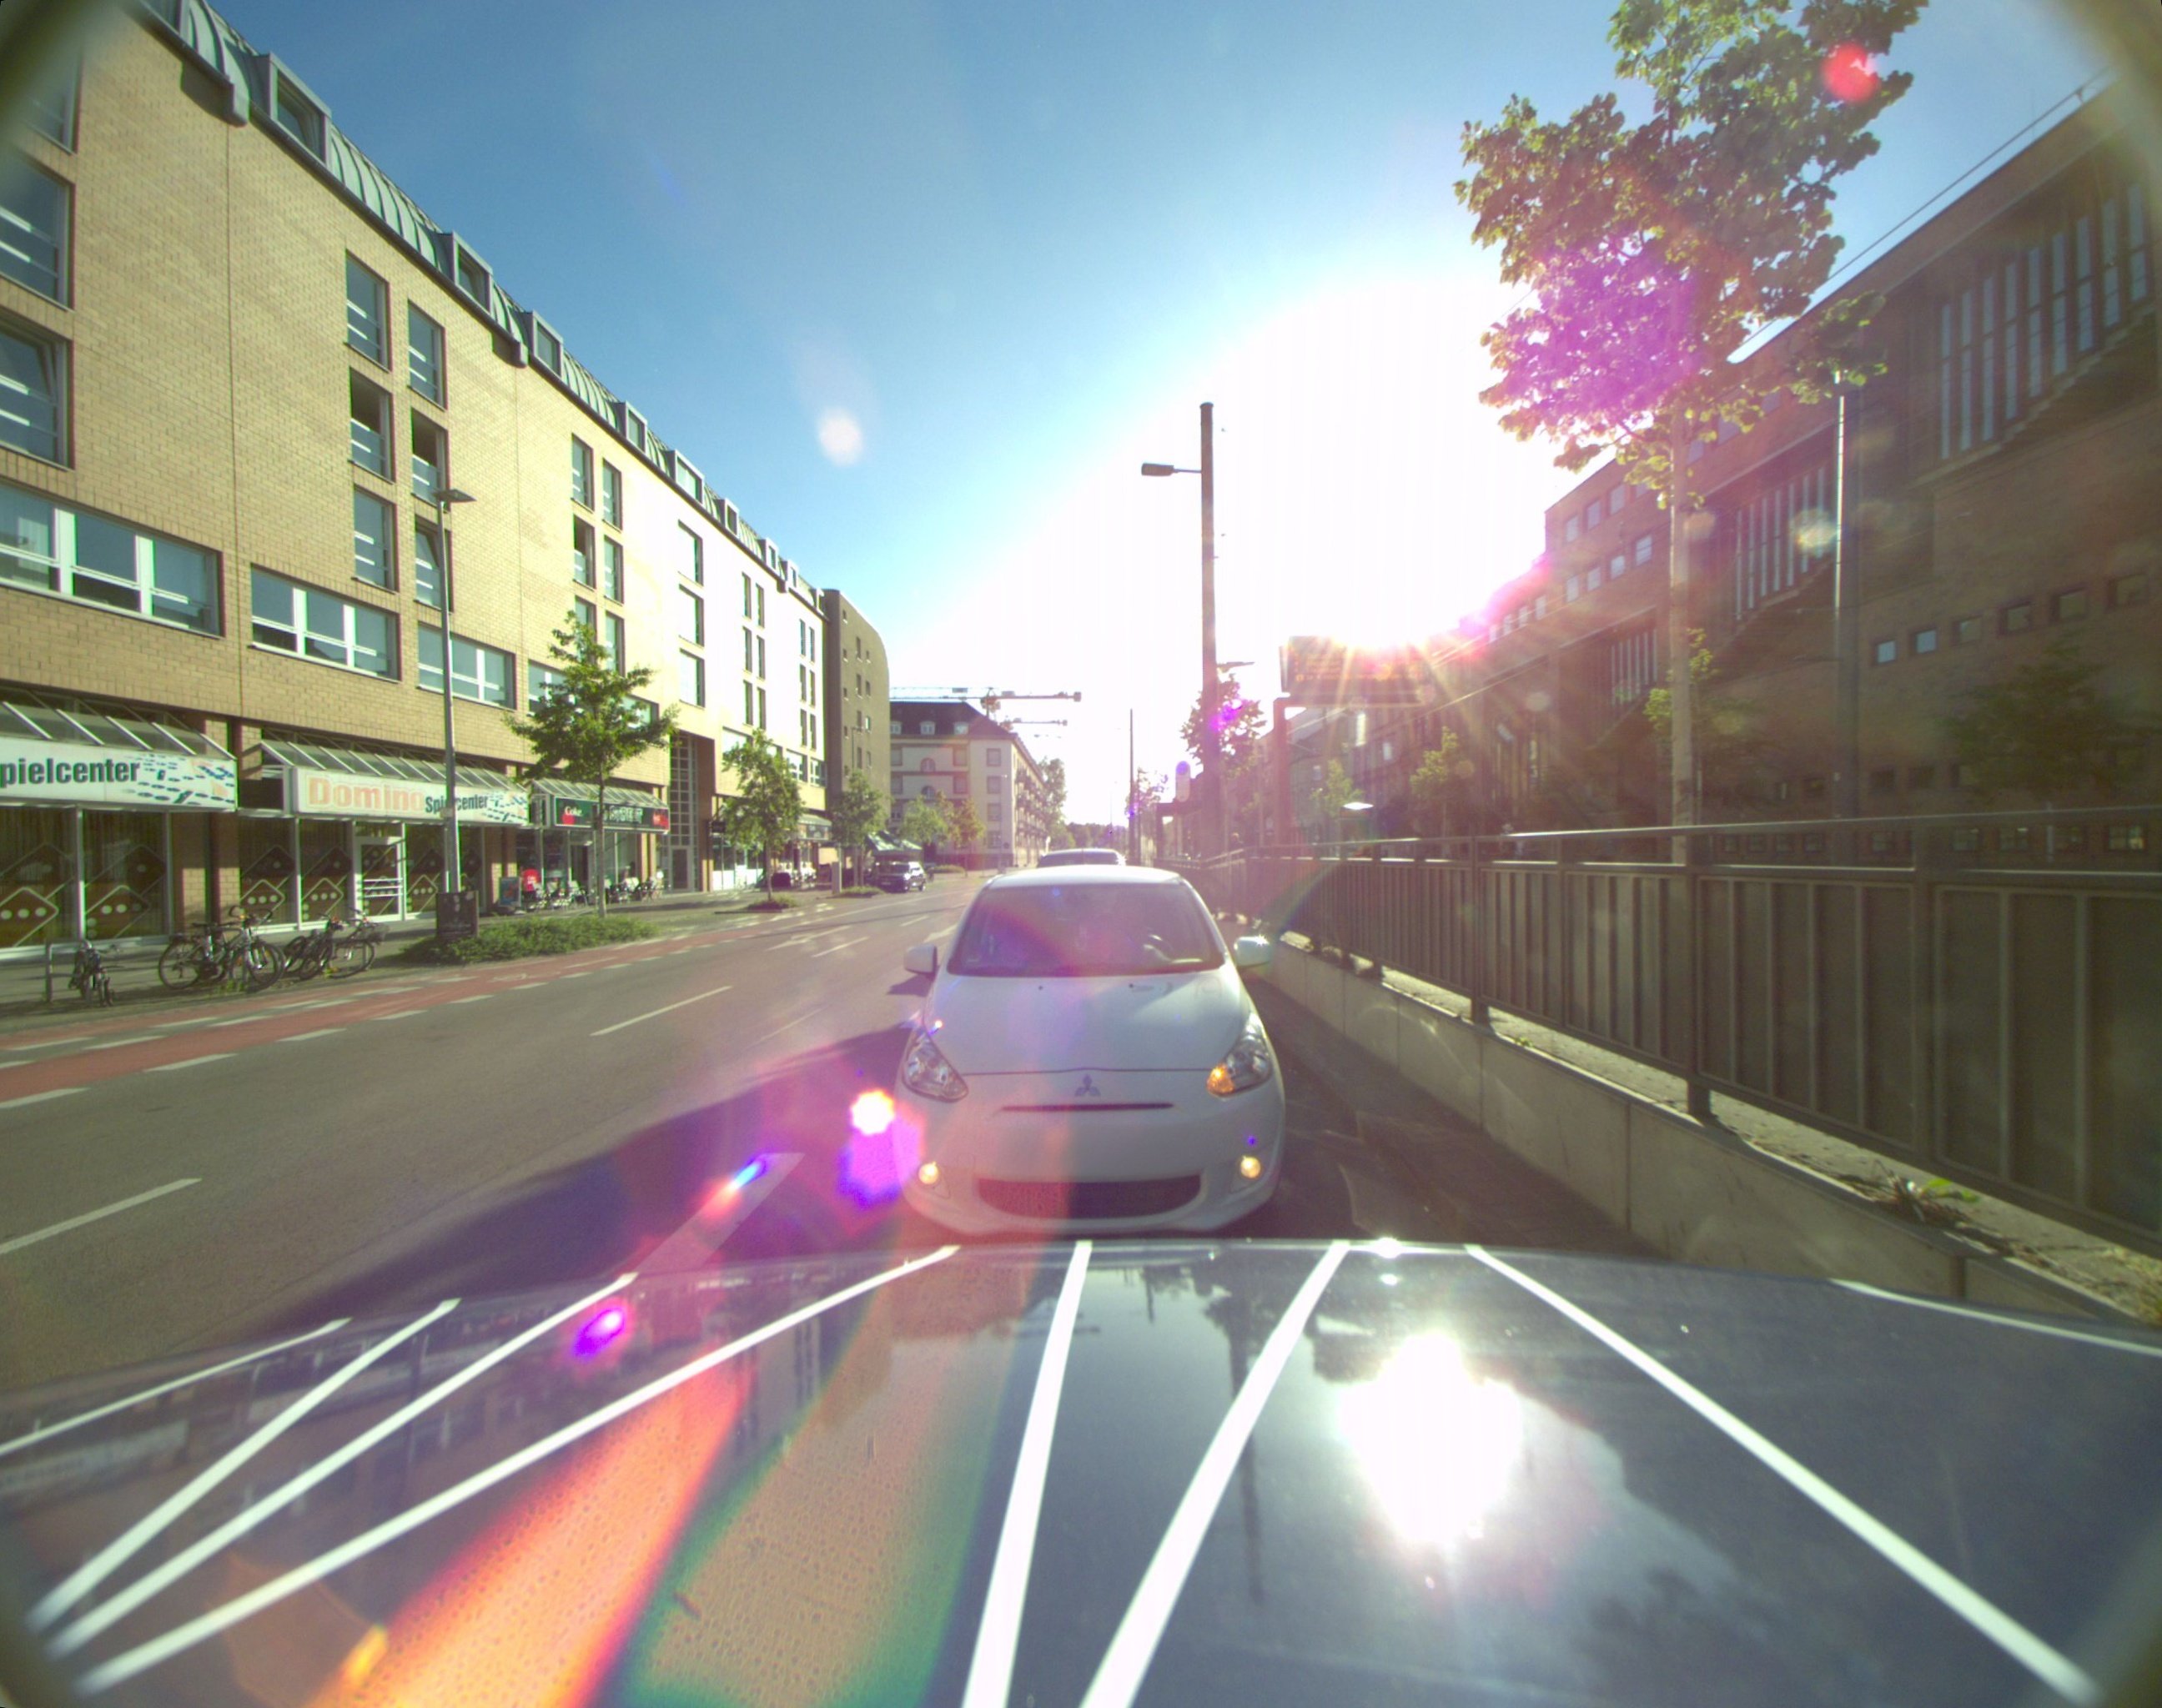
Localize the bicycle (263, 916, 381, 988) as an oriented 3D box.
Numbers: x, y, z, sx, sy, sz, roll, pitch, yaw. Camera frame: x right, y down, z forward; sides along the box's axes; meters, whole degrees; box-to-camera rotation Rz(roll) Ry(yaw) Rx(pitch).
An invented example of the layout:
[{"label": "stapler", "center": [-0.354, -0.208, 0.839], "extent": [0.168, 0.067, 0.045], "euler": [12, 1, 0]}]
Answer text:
[{"label": "bicycle", "center": [-12.013, 1.525, 12.025], "extent": [1.835, 0.980, 0.449], "euler": [1, 2, 15]}]

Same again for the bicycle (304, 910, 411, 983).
[{"label": "bicycle", "center": [-11.898, 1.504, 12.493], "extent": [1.835, 1.050, 0.350], "euler": [1, 2, 15]}]

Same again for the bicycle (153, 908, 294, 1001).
[{"label": "bicycle", "center": [-12.357, 1.422, 10.958], "extent": [1.835, 1.156, 0.565], "euler": [1, 2, 15]}]

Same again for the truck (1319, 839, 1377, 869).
[{"label": "truck", "center": [17.745, 0.015, 50.711], "extent": [1.999, 1.868, 5.155], "euler": [1, 0, 0]}]

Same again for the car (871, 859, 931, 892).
[{"label": "car", "center": [-9.764, 1.144, 41.574], "extent": [1.778, 1.630, 4.002], "euler": [-1, 0, 9]}]

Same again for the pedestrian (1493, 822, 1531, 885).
[{"label": "pedestrian", "center": [12.555, -0.026, 22.161], "extent": [0.685, 1.797, 0.668], "euler": [-2, 2, 0]}]

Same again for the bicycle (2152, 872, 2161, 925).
[{"label": "bicycle", "center": [22.616, 0.944, 14.958], "extent": [0.461, 1.084, 1.814], "euler": [1, 1, 1]}]

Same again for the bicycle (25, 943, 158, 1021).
[{"label": "bicycle", "center": [-12.696, 1.627, 9.746], "extent": [1.772, 0.827, 0.366], "euler": [1, 2, 15]}]

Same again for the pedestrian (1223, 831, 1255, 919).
[{"label": "pedestrian", "center": [4.469, 0.590, 21.550], "extent": [0.684, 2.428, 0.626], "euler": [-2, 2, -2]}]

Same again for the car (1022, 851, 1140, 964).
[{"label": "car", "center": [-0.004, 0.800, 13.618], "extent": [1.720, 1.591, 4.215], "euler": [-2, 1, 0]}]

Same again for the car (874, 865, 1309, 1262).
[{"label": "car", "center": [0.045, 0.893, 5.213], "extent": [1.720, 1.422, 4.215], "euler": [-2, 1, 0]}]

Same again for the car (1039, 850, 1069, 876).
[{"label": "car", "center": [-2.159, 0.690, 61.284], "extent": [2.164, 1.904, 4.472], "euler": [-2, 0, 0]}]
